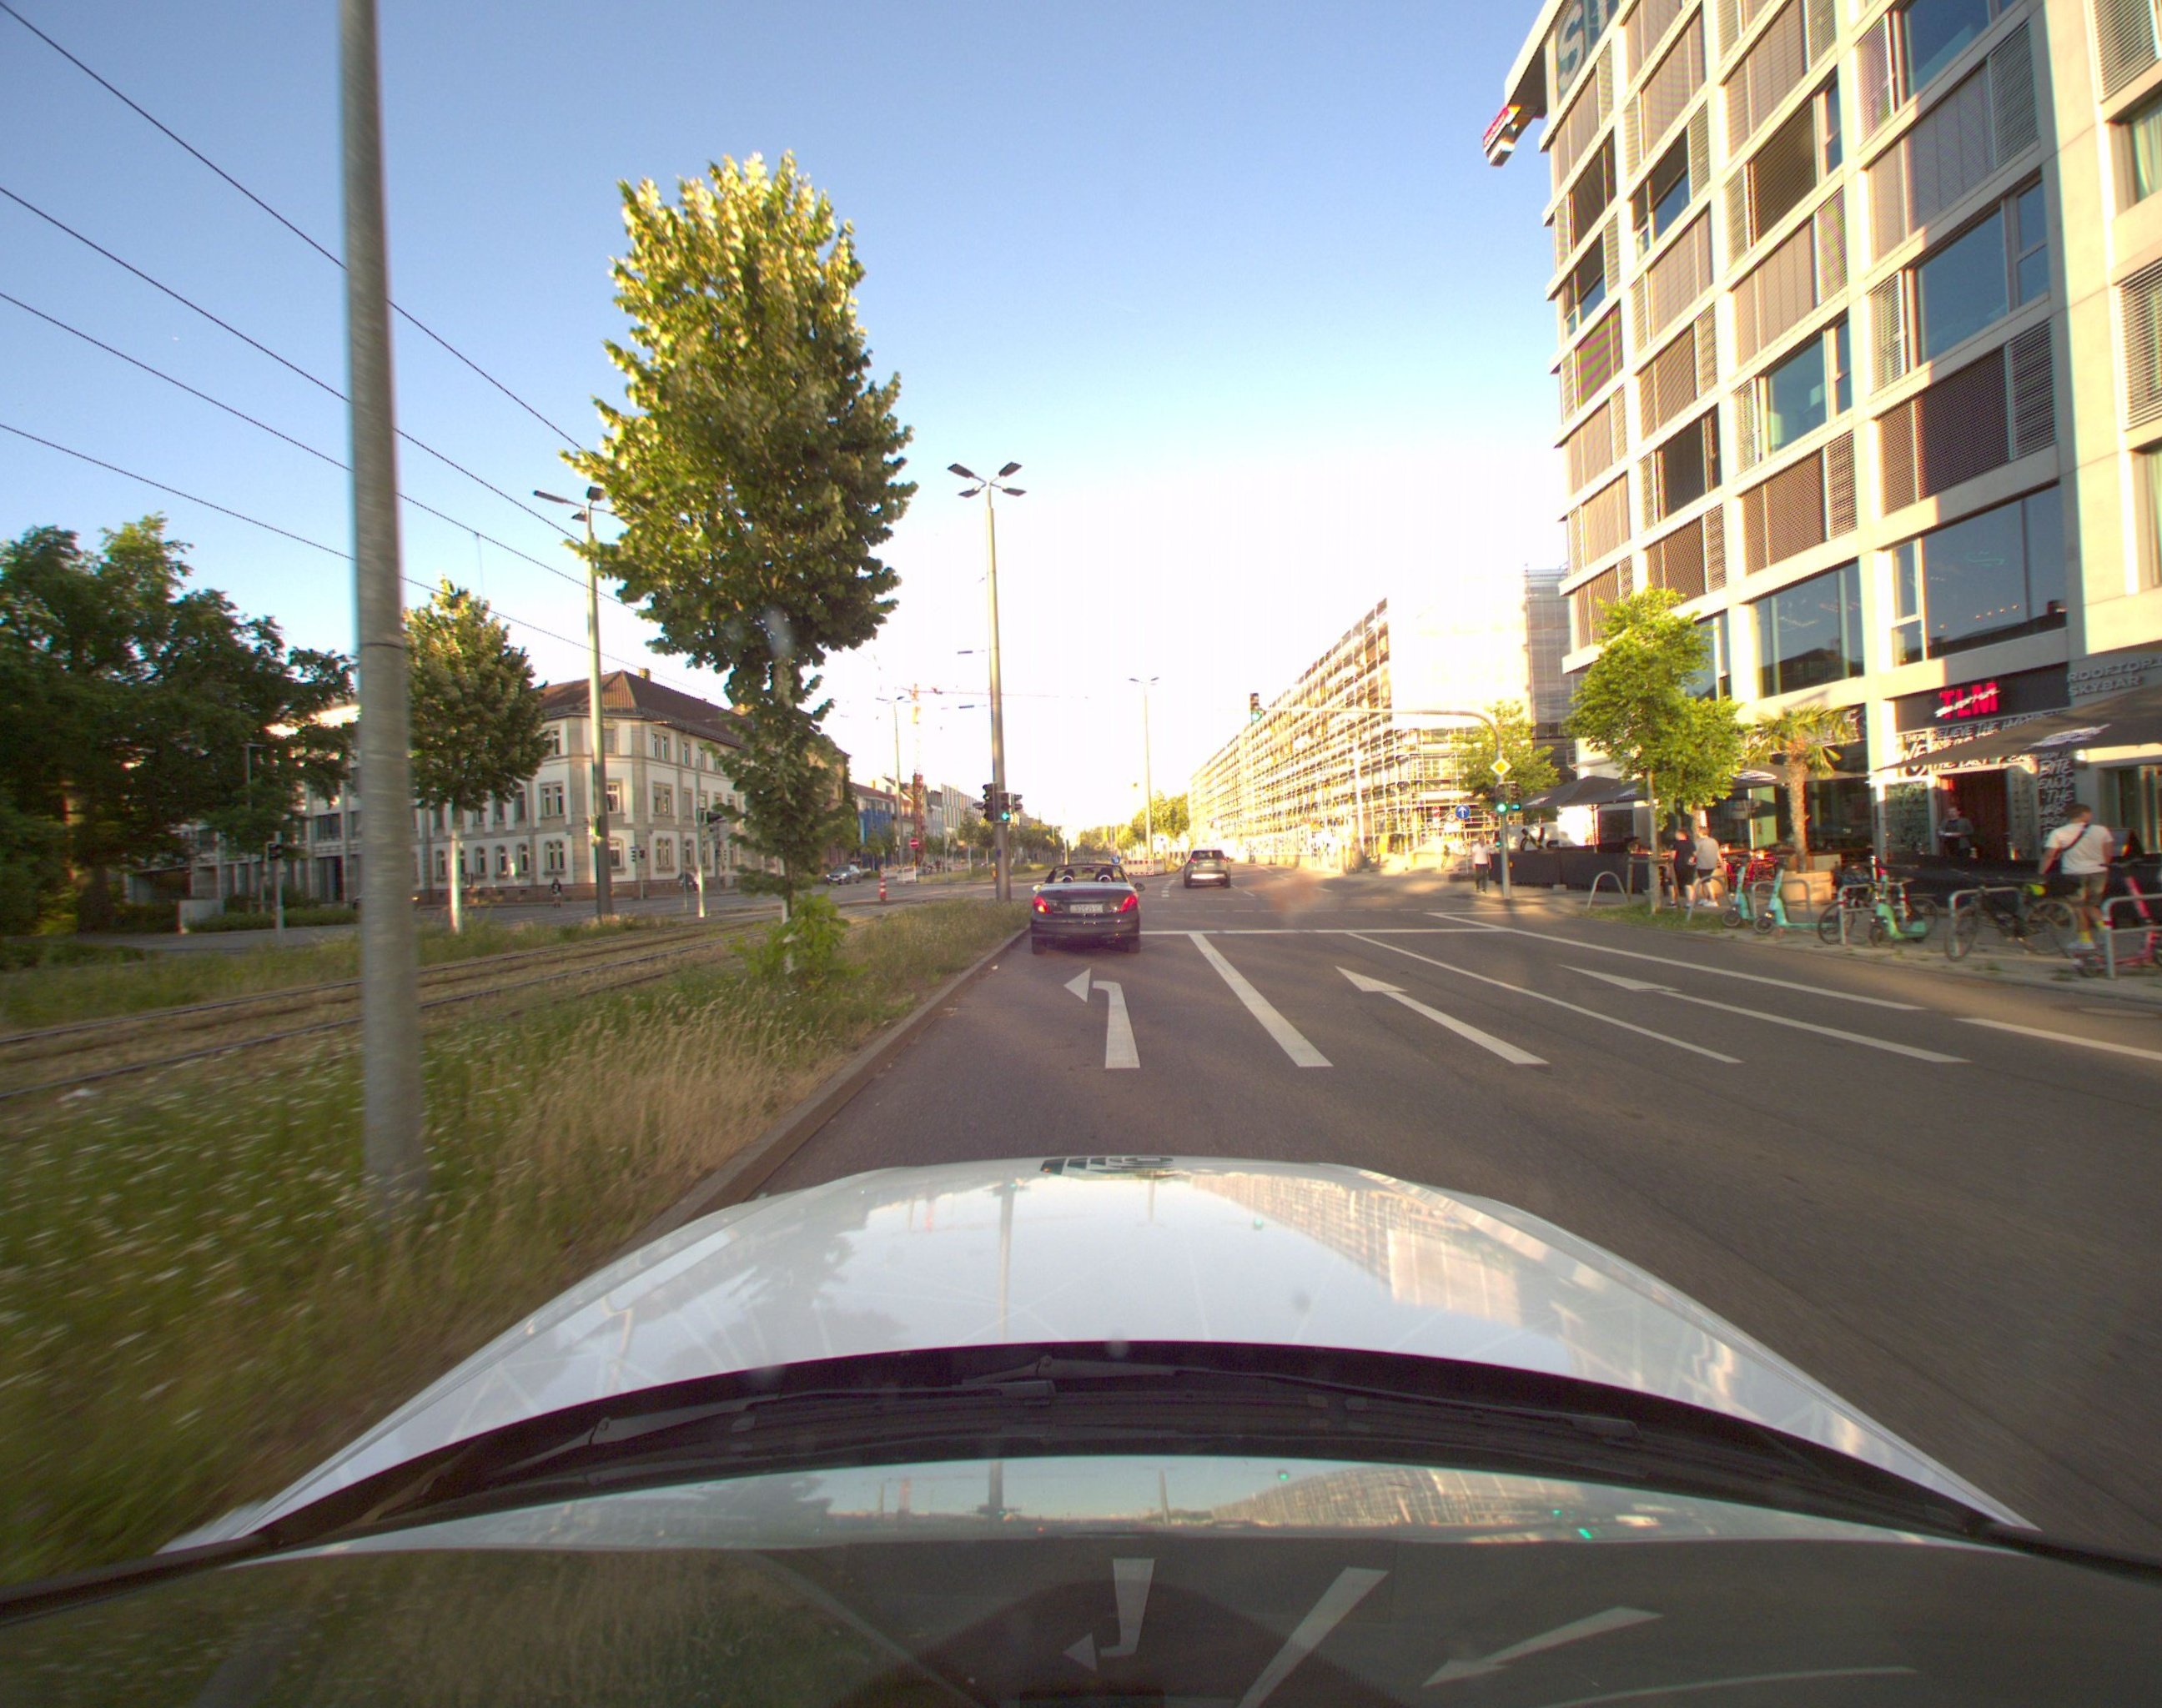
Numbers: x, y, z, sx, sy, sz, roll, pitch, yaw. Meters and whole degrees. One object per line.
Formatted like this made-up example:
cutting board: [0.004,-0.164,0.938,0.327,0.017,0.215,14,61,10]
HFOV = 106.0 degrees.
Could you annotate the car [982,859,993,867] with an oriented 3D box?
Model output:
car: [-18.385,1.786,160.442,1.651,1.431,3.898,0,0,3]

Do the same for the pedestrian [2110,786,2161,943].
pedestrian: [13.385,0.097,9.764,0.819,1.888,0.868,-4,-1,9]

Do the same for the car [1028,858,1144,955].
car: [0.123,0.771,13.885,1.668,1.352,4.001,-1,0,1]

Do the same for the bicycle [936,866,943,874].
bicycle: [-18.576,2.059,106.745,0.587,0.975,1.557,0,0,3]

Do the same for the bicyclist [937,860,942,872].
bicyclist: [-18.573,1.606,106.833,0.587,1.569,0.711,0,0,2]

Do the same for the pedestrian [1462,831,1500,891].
pedestrian: [12.695,0.221,25.856,0.765,1.847,0.679,-3,0,1]

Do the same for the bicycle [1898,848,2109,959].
bicycle: [11.376,0.593,10.075,1.840,1.181,0.608,-5,0,0]

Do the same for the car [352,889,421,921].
car: [-39.647,2.879,46.473,3.949,1.555,1.801,0,0,31]

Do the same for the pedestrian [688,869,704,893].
pedestrian: [-27.145,1.895,57.456,0.700,1.715,0.812,0,0,-2]

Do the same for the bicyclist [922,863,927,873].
bicyclist: [-19.777,1.794,102.673,0.590,1.266,0.458,0,0,-14]

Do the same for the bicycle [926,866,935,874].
bicycle: [-19.678,2.067,106.722,0.769,0.945,1.641,0,0,3]

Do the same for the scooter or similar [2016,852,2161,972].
scooter or similar: [11.169,0.620,8.908,1.151,1.191,0.510,-4,-2,3]

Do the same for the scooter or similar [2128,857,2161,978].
scooter or similar: [11.490,0.610,8.117,1.119,1.213,0.534,-5,-2,16]

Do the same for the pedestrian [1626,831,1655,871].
pedestrian: [19.582,-0.109,28.511,0.608,1.319,0.624,-5,0,19]

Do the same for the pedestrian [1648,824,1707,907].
pedestrian: [12.761,0.238,17.431,0.651,1.702,0.689,-4,0,1]

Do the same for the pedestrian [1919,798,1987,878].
pedestrian: [19.390,-0.349,18.119,0.853,1.703,0.576,-4,0,-8]

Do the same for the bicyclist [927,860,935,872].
bicyclist: [-19.679,1.599,106.724,0.769,1.571,0.793,0,0,3]

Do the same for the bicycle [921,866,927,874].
bicycle: [-19.777,2.056,102.672,0.590,0.989,1.549,0,0,-13]

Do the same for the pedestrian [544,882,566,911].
pedestrian: [-27.563,2.206,42.656,0.603,1.458,0.934,0,0,-7]

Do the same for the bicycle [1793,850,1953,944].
bicycle: [11.496,0.610,11.841,1.790,1.193,0.567,-5,0,-4]

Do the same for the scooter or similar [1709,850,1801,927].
scooter or similar: [11.734,0.588,14.195,1.049,1.223,0.598,-4,0,-3]

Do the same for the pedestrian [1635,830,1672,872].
pedestrian: [19.439,-0.105,27.661,0.740,1.319,0.717,-5,0,14]

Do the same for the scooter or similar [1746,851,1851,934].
scooter or similar: [11.453,0.603,13.019,1.054,1.223,0.551,-5,-1,10]

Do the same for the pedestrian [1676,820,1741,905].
pedestrian: [13.494,0.174,17.528,0.683,1.734,0.761,-5,0,1]

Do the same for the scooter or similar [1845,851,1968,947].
scooter or similar: [11.439,0.611,11.300,1.207,1.201,0.479,-5,0,-4]

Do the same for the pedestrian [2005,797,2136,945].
pedestrian: [12.612,0.210,10.413,0.572,1.786,0.832,-4,-2,14]

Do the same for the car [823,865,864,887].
car: [-19.837,1.798,68.089,1.986,1.580,4.126,-4,0,2]

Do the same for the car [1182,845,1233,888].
car: [5.307,0.501,34.598,1.825,1.672,4.289,-1,0,5]
